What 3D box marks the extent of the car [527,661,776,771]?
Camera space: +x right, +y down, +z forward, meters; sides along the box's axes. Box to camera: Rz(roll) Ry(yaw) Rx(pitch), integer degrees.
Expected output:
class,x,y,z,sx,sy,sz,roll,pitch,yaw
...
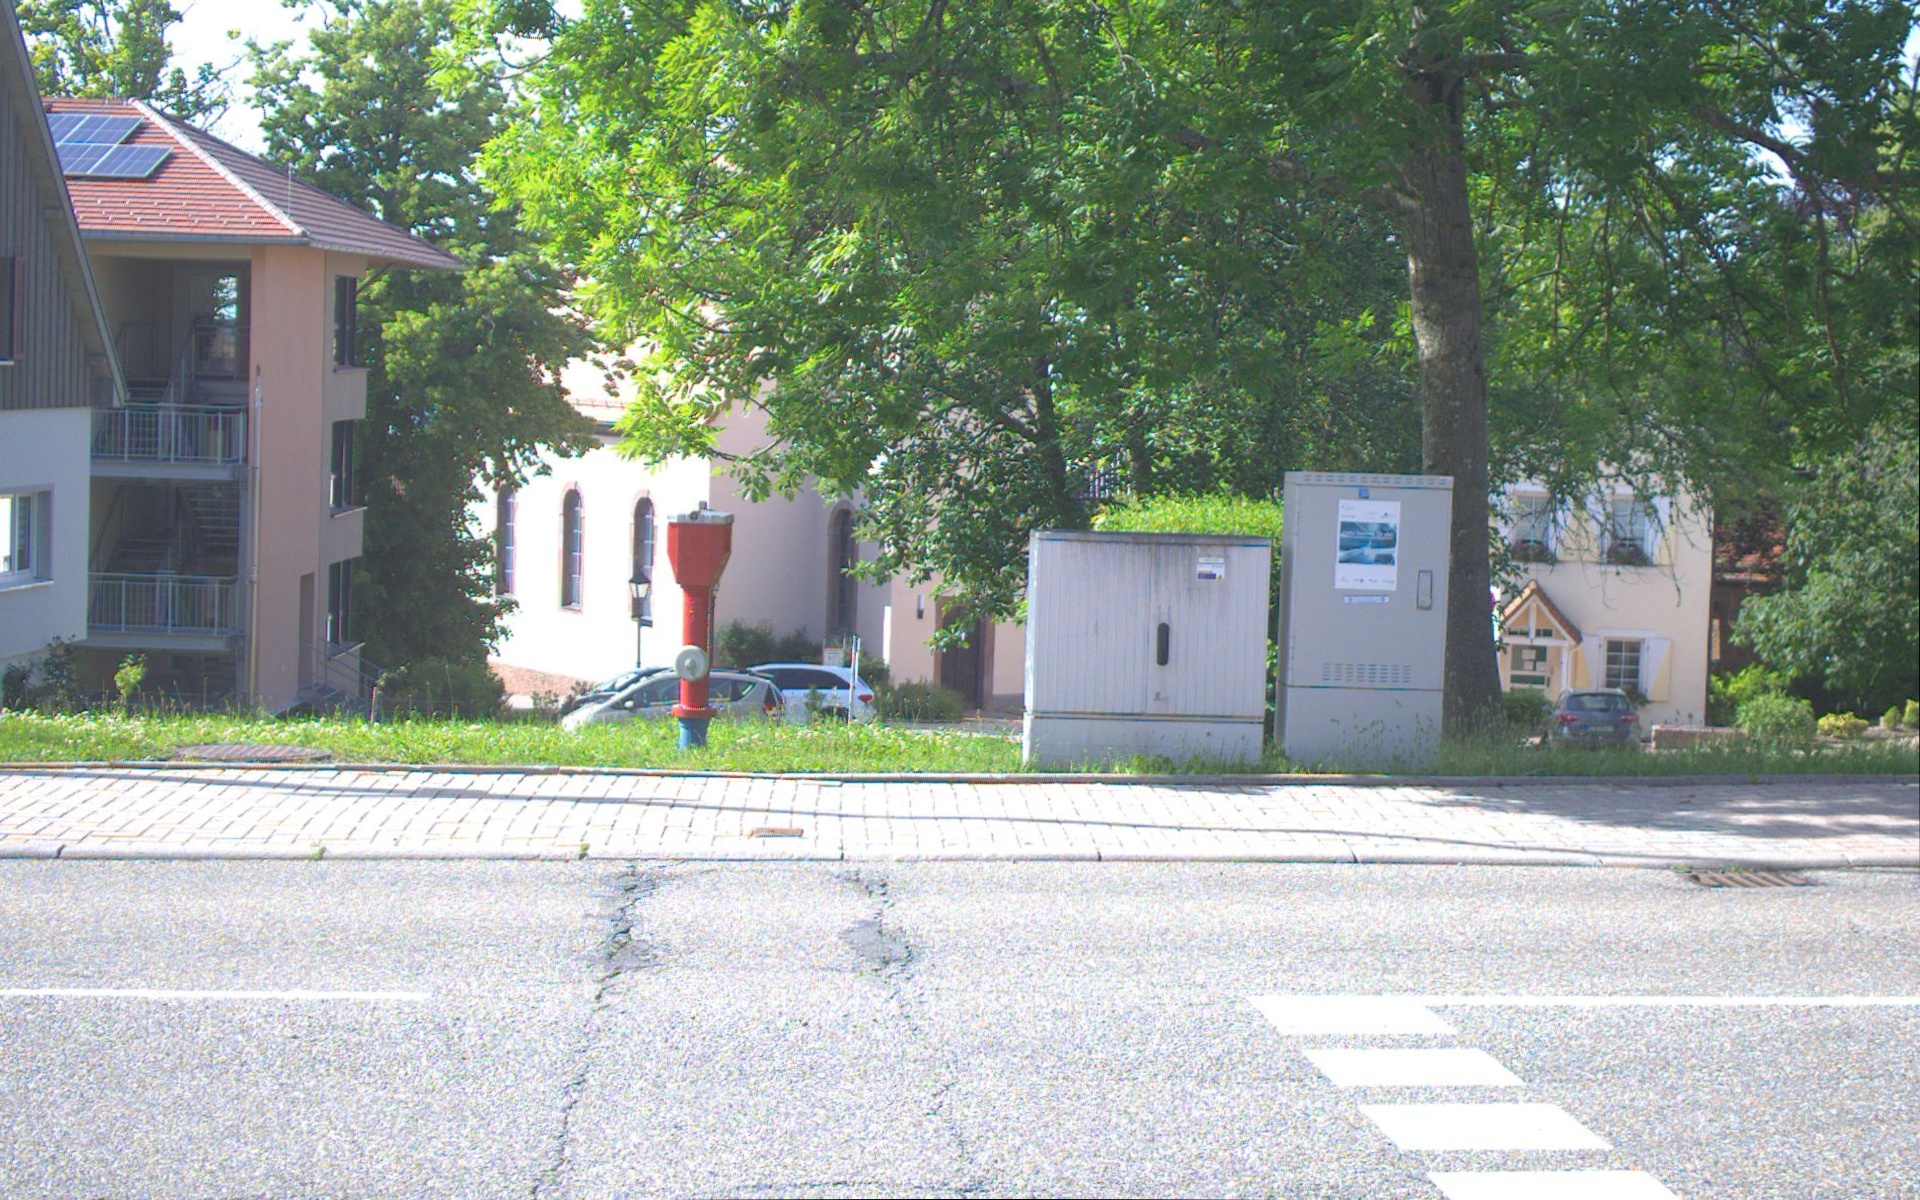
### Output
class,x,y,z,sx,sy,sz,roll,pitch,yaw
car,-5.164,1.938,57.642,4.089,1.752,1.714,1,0,-5

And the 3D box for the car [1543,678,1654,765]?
class,x,y,z,sx,sy,sz,roll,pitch,yaw
car,12.580,2.379,67.921,1.708,1.536,3.785,0,0,4

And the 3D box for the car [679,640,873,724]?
class,x,y,z,sx,sy,sz,roll,pitch,yaw
car,-3.684,1.626,68.488,3.772,1.588,1.714,0,0,-6
